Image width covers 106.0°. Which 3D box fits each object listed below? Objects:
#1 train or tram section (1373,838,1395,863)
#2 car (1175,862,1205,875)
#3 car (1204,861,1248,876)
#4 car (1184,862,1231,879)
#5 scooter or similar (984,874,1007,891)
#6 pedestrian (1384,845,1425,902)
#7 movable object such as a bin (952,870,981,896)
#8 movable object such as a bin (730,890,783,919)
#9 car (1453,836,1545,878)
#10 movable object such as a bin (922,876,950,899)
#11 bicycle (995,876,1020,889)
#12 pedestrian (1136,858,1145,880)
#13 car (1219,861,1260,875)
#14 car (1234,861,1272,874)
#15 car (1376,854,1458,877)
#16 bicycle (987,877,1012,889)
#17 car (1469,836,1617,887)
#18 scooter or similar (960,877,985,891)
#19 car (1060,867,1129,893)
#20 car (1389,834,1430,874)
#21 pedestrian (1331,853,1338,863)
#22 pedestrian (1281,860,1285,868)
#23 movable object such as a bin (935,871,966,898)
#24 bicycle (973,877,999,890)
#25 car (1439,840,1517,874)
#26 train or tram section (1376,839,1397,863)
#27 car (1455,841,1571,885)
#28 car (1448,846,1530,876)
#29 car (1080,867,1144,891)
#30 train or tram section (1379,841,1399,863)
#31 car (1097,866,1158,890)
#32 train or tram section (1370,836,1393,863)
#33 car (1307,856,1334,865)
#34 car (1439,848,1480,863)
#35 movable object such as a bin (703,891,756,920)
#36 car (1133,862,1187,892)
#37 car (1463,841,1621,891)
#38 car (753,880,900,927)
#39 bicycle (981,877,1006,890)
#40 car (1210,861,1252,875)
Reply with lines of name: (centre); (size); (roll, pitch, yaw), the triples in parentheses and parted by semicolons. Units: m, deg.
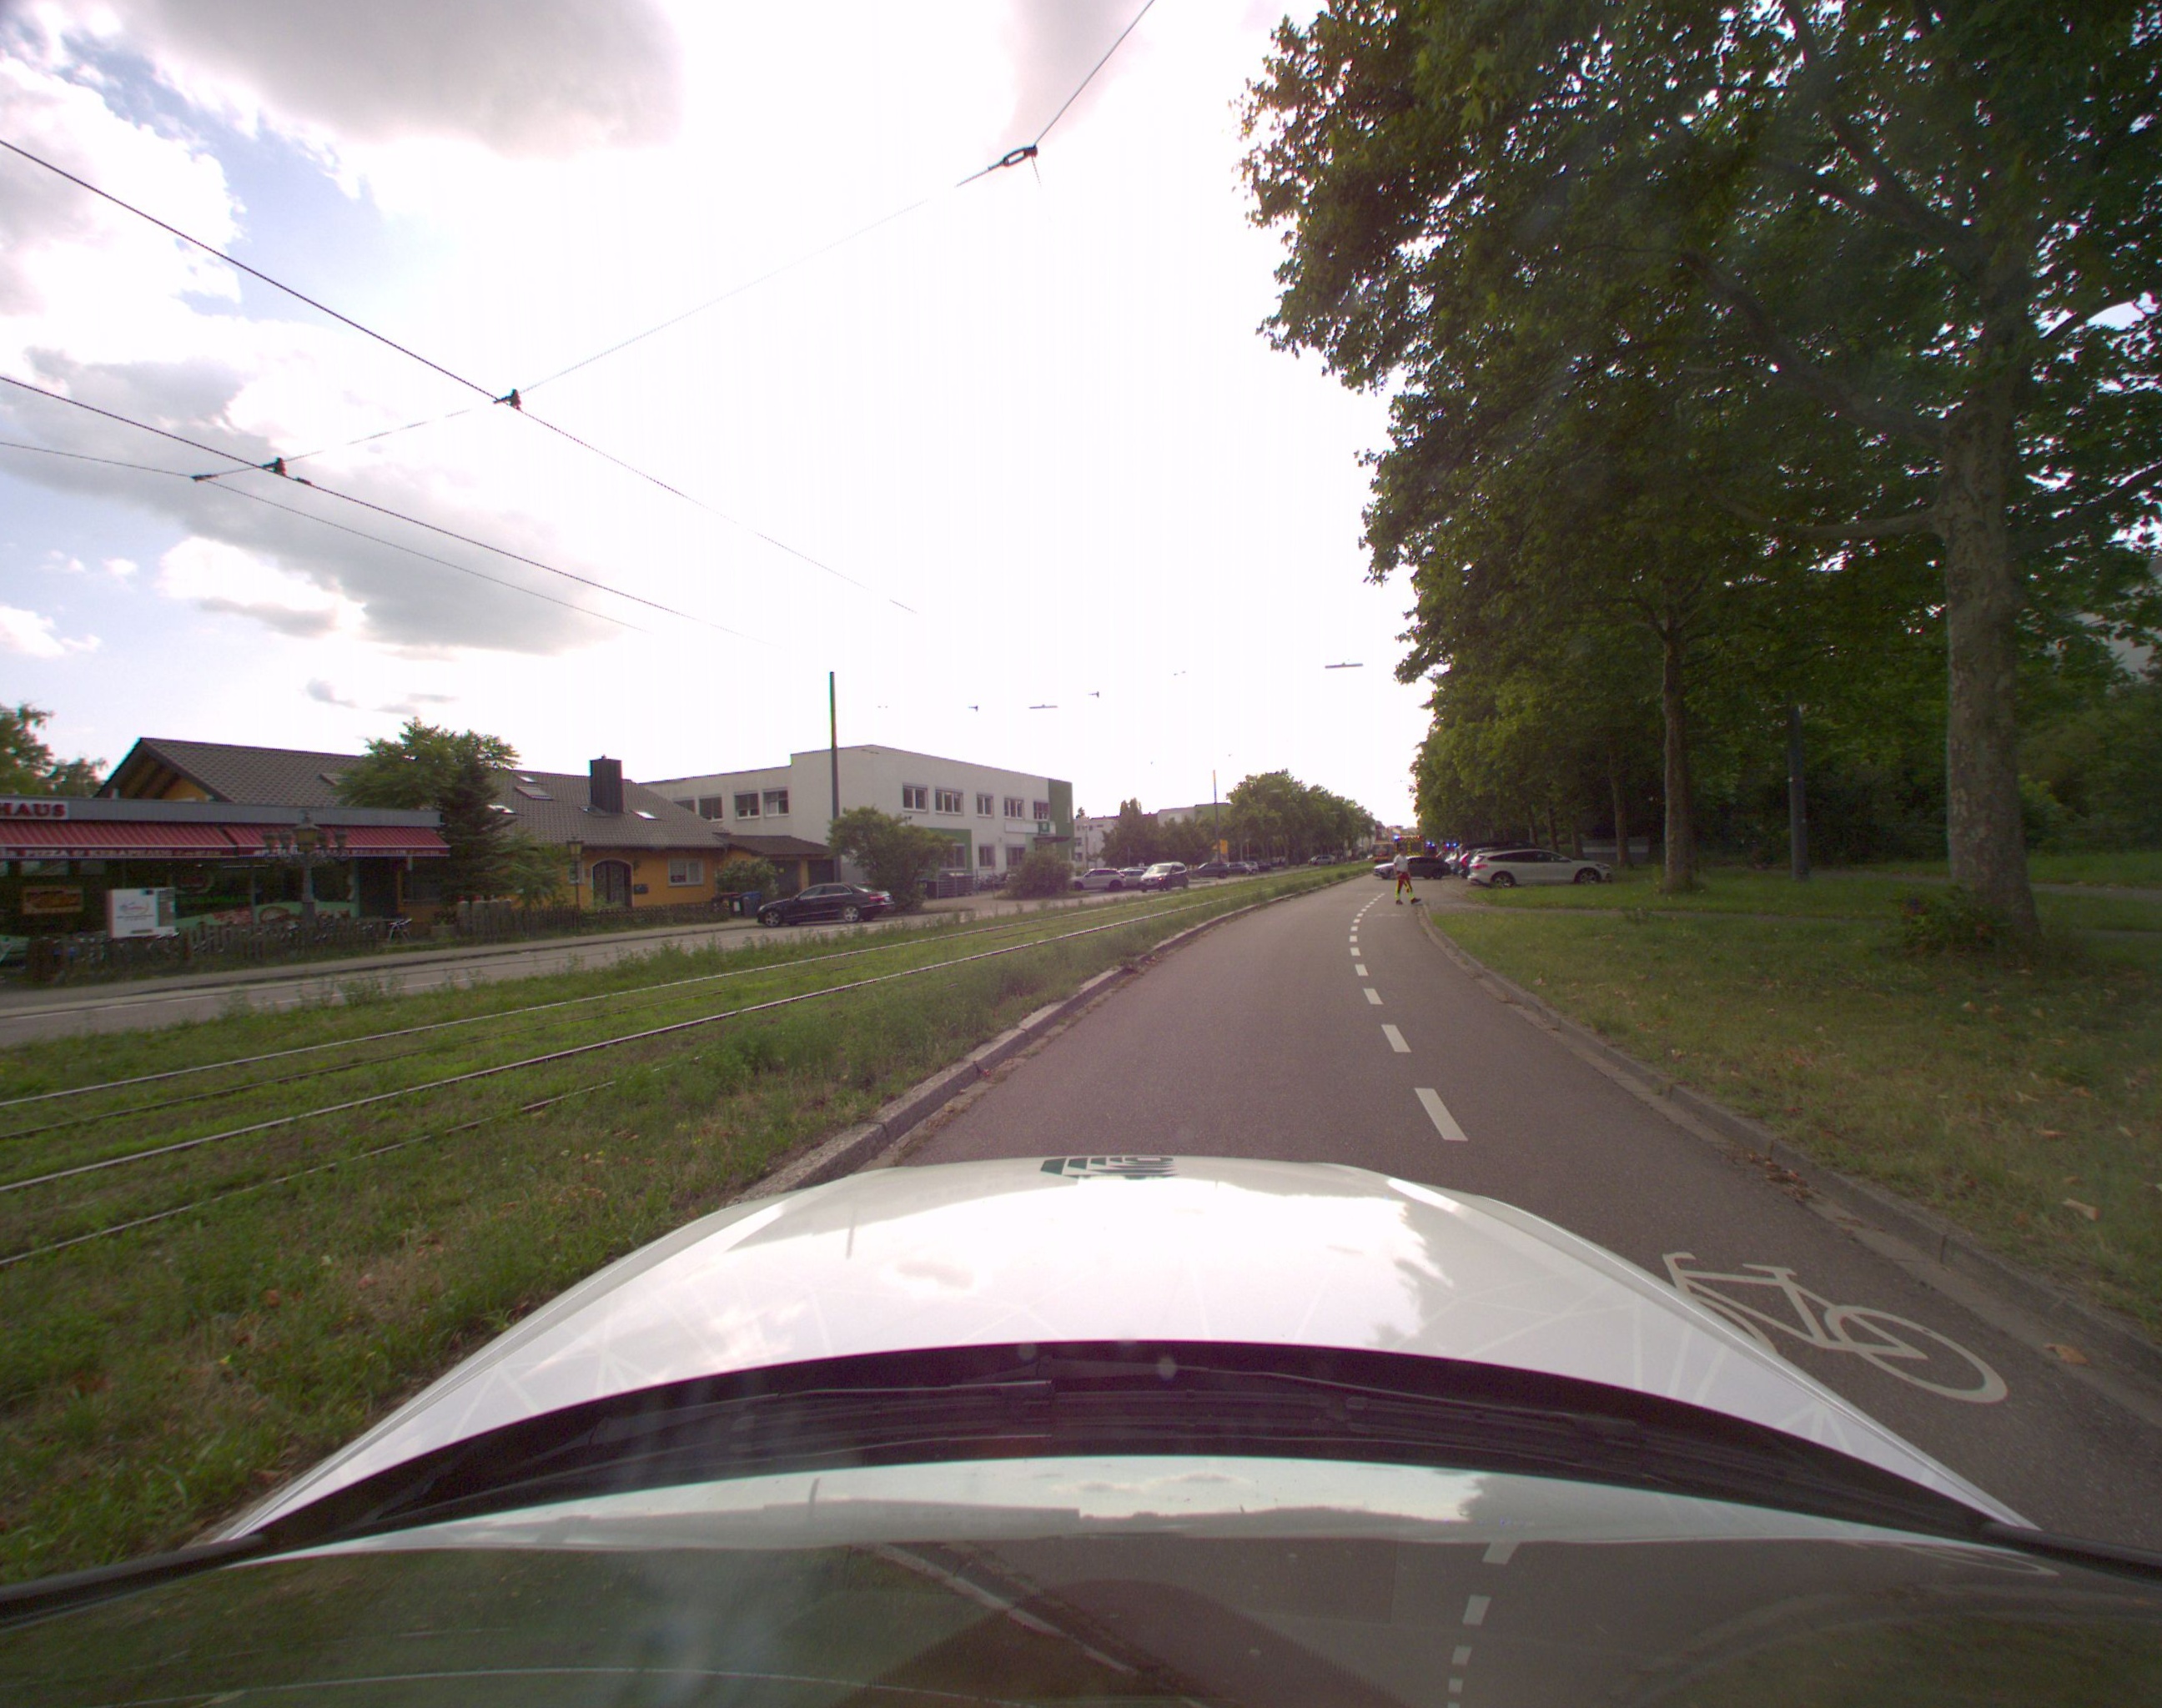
train or tram section: (46.338, -0.485, 124.395); (2.489, 3.584, 7.485); (-4, -3, 23)
car: (15.197, 2.060, 113.878); (2.008, 1.750, 3.957); (-1, 0, -35)
car: (15.658, 1.601, 87.878); (4.224, 1.482, 1.875); (-1, -1, -12)
car: (12.110, 1.558, 78.303); (4.209, 1.482, 1.882); (-1, -1, -1)
scooter or similar: (-5.858, 1.937, 55.817); (1.099, 1.156, 1.292); (0, -2, -37)
pedestrian: (9.720, 0.582, 24.447); (0.811, 1.686, 0.840); (-1, -2, -45)
movable object such as a bin: (-7.047, 1.772, 50.266); (0.996, 1.520, 1.614); (-1, 0, 26)
movable object such as a bin: (-13.661, 2.107, 34.320); (1.243, 1.101, 1.627); (-3, -1, 23)
car: (23.960, 0.182, 46.889); (4.505, 2.123, 1.866); (-4, -2, 23)
movable object such as a bin: (-8.440, 1.928, 47.327); (0.996, 1.234, 1.263); (-1, 0, 26)
bicycle: (-5.469, 2.116, 60.518); (1.841, 0.899, 0.461); (-1, -1, 24)
pedestrian: (5.017, 1.227, 68.584); (0.541, 1.828, 0.511); (-3, -1, 22)
car: (18.135, 1.578, 93.302); (4.224, 1.482, 1.875); (-1, -1, -12)
car: (21.302, 1.622, 100.922); (4.230, 1.482, 1.873); (-1, -1, -16)
car: (20.836, 0.714, 50.681); (4.427, 1.385, 1.771); (-1, -1, 9)
bicycle: (-5.942, 2.116, 59.565); (1.841, 0.899, 0.461); (-1, -1, 24)
car: (17.562, 0.303, 31.230); (4.619, 1.626, 1.857); (-4, -1, 20)
scooter or similar: (-7.495, 2.072, 56.325); (1.720, 0.899, 0.461); (-1, -1, 24)
car: (0.864, 1.714, 54.070); (4.222, 1.482, 1.876); (-3, -1, -11)
car: (25.591, -0.008, 63.302); (2.617, 2.966, 6.335); (0, 0, 25)
pedestrian: (36.174, 0.563, 116.052); (0.873, 1.525, 0.755); (-1, -2, 23)
pedestrian: (34.078, 1.695, 137.307); (0.418, 1.473, 0.470); (-3, -1, 19)
movable object such as a bin: (-7.774, 1.808, 48.722); (0.996, 1.520, 1.722); (-1, 0, 26)
bicycle: (-6.759, 2.089, 57.678); (1.841, 0.899, 0.461); (-1, -1, 24)
car: (26.937, 0.240, 55.440); (4.507, 2.001, 1.865); (-4, -2, 20)
train or tram section: (49.312, -0.386, 131.265); (2.489, 3.584, 7.485); (-4, -3, 23)
car: (19.090, 0.408, 36.181); (4.340, 1.639, 1.766); (-4, -2, 25)
car: (26.402, 0.447, 52.888); (4.508, 1.660, 1.865); (-4, -2, 19)
car: (2.135, 1.729, 56.799); (4.215, 1.482, 1.879); (-3, -1, -6)
train or tram section: (52.266, -0.287, 138.073); (2.489, 3.584, 7.485); (-4, -3, 23)
car: (3.388, 1.748, 59.566); (4.215, 1.482, 1.879); (-3, -1, -6)
train or tram section: (43.378, -0.585, 117.534); (2.489, 3.584, 7.485); (-4, -3, 23)
car: (47.181, 1.292, 160.438); (4.622, 1.633, 1.873); (-2, -1, -16)
car: (48.282, 0.244, 104.076); (4.507, 1.608, 1.865); (-4, -2, 20)
movable object such as a bin: (-15.022, 2.186, 34.827); (1.243, 1.092, 1.627); (-3, -1, 23)
car: (4.911, 1.380, 49.946); (1.976, 1.558, 4.394); (-4, -2, 23)
car: (16.401, 0.436, 29.277); (4.619, 1.473, 1.857); (-4, -1, 20)
car: (-9.087, 1.765, 29.296); (4.615, 1.407, 1.885); (-3, -3, 4)
bicycle: (-6.317, 2.104, 58.741); (1.841, 0.899, 0.461); (-1, -1, 24)
car: (16.691, 1.577, 90.595); (4.224, 1.482, 1.875); (-1, -1, -12)
